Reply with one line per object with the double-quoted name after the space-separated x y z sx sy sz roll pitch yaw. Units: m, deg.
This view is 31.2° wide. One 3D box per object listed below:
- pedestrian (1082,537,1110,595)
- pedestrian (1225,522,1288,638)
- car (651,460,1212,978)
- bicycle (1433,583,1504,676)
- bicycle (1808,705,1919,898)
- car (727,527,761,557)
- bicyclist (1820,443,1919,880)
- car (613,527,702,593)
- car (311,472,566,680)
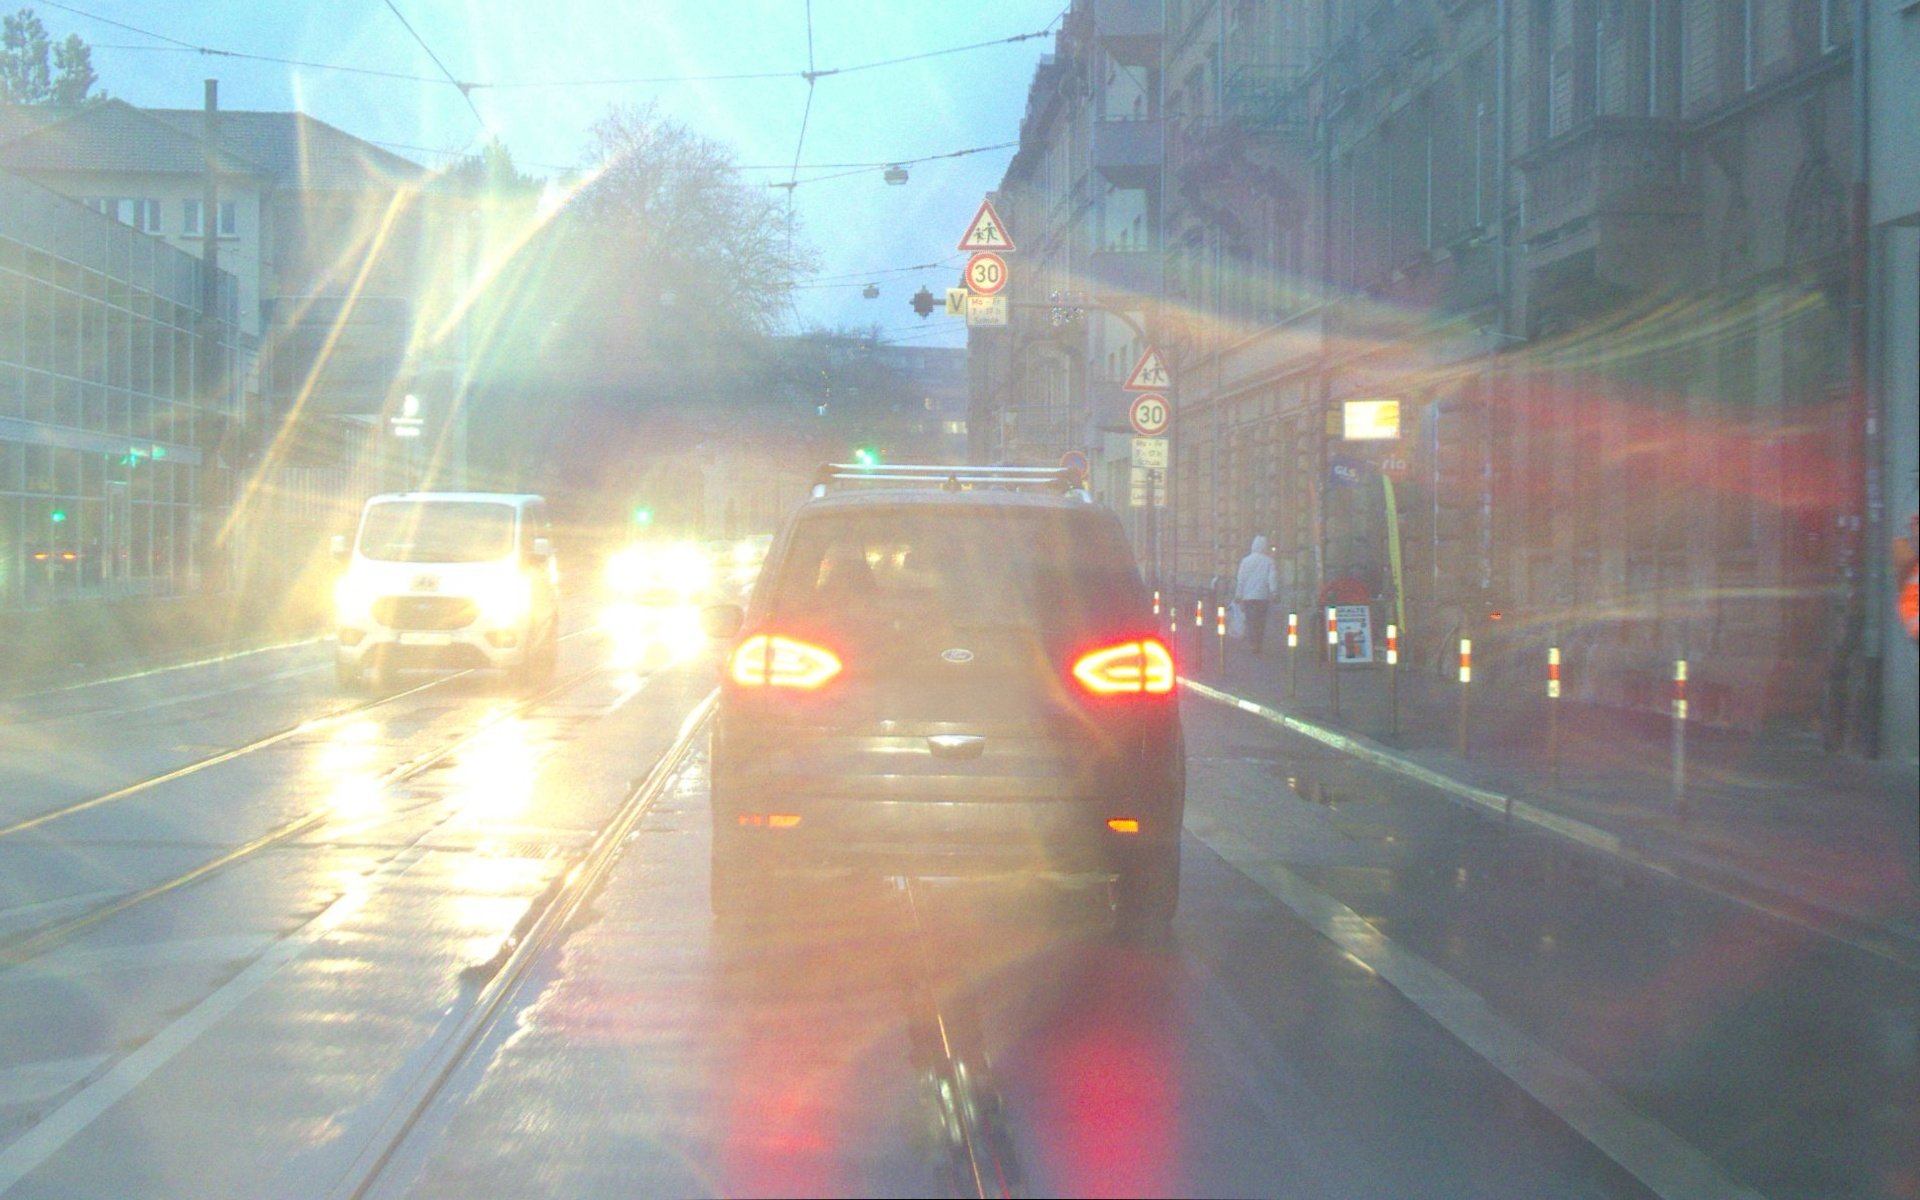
3.276 -0.826 82.920 0.600 1.372 0.728 1 0 -2 "pedestrian"
4.107 -0.277 47.656 0.786 1.592 0.742 0 1 -1 "pedestrian"
-0.079 0.394 14.290 1.993 1.835 4.000 0 1 1 "car"
5.280 0.295 35.750 0.397 0.908 1.867 0 1 -2 "bicycle"
4.378 0.888 15.370 0.608 0.758 1.861 0 1 -4 "bicycle"
-12.461 -3.372 198.300 1.875 1.704 4.761 -1 1 -3 "car"
4.379 0.257 15.323 0.745 1.873 1.112 0 1 -4 "bicyclist"
-7.388 -0.989 84.251 1.841 1.573 4.442 0 1 -1 "car"
-5.399 -0.260 36.151 1.993 2.007 4.685 1 1 -1 "car"
